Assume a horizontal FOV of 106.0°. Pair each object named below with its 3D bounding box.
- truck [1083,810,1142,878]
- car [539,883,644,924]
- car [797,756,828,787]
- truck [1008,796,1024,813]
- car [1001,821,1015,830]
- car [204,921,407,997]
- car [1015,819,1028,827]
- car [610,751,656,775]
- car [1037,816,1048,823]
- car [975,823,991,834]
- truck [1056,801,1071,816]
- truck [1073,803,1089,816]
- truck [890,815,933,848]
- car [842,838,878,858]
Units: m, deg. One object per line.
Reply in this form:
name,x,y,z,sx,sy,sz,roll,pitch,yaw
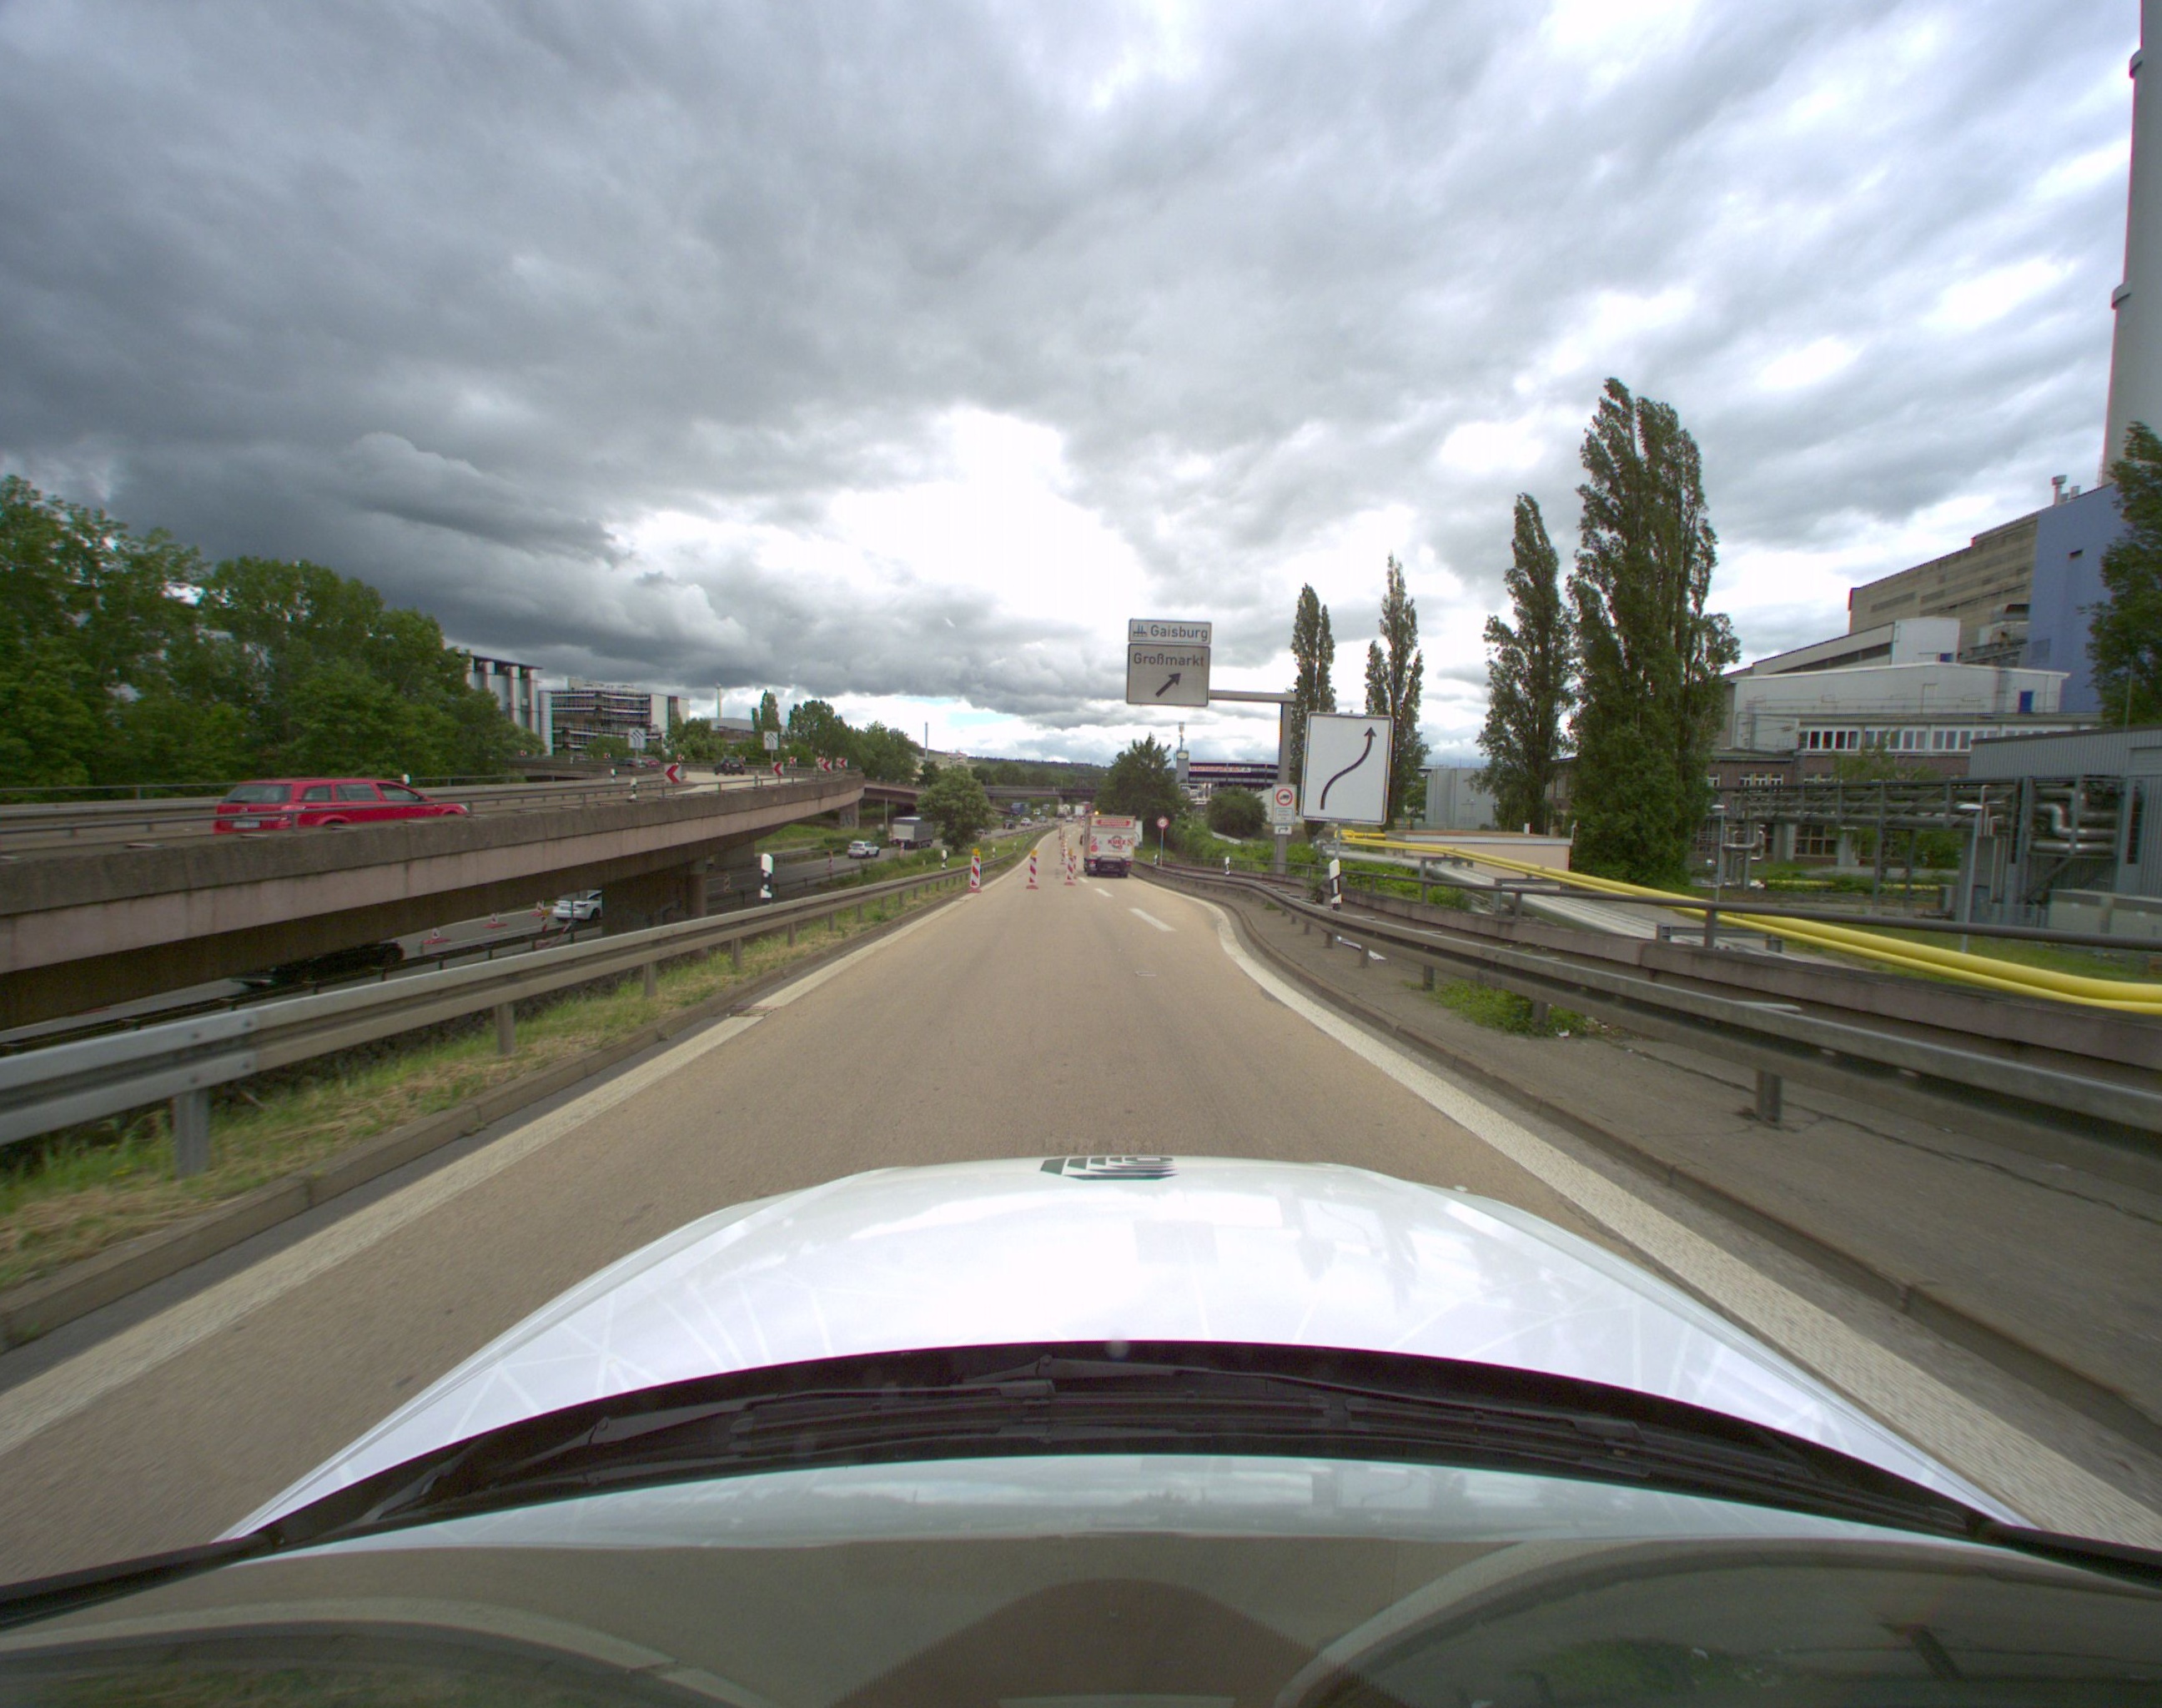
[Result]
truck,1.752,-0.657,48.974,3.041,3.672,7.926,2,1,0
car,-24.720,2.473,41.362,1.982,1.455,4.813,2,3,8
car,-19.001,-5.786,57.535,2.000,1.772,3.973,1,0,-20
truck,-16.782,-12.673,210.387,2.738,4.270,5.516,2,3,7
car,-13.641,-5.321,152.743,1.985,1.617,4.005,2,3,3
car,-25.577,3.396,27.156,2.026,1.614,4.589,2,3,8
car,-12.312,-6.474,168.378,1.985,1.617,4.005,2,3,3
car,-39.815,-8.084,72.329,3.948,1.772,2.013,1,0,35
car,-8.910,-8.058,188.712,1.985,1.617,4.005,2,3,3
car,-16.065,-4.144,133.877,1.985,1.617,4.005,2,3,3
truck,-4.712,-12.410,221.337,3.272,3.851,7.674,2,3,3
truck,0.018,-12.454,227.433,3.268,3.598,7.684,2,3,8
truck,-20.019,-2.749,96.711,3.037,3.654,7.406,2,3,4
car,-22.049,-0.608,81.458,1.983,1.712,4.111,2,3,8
